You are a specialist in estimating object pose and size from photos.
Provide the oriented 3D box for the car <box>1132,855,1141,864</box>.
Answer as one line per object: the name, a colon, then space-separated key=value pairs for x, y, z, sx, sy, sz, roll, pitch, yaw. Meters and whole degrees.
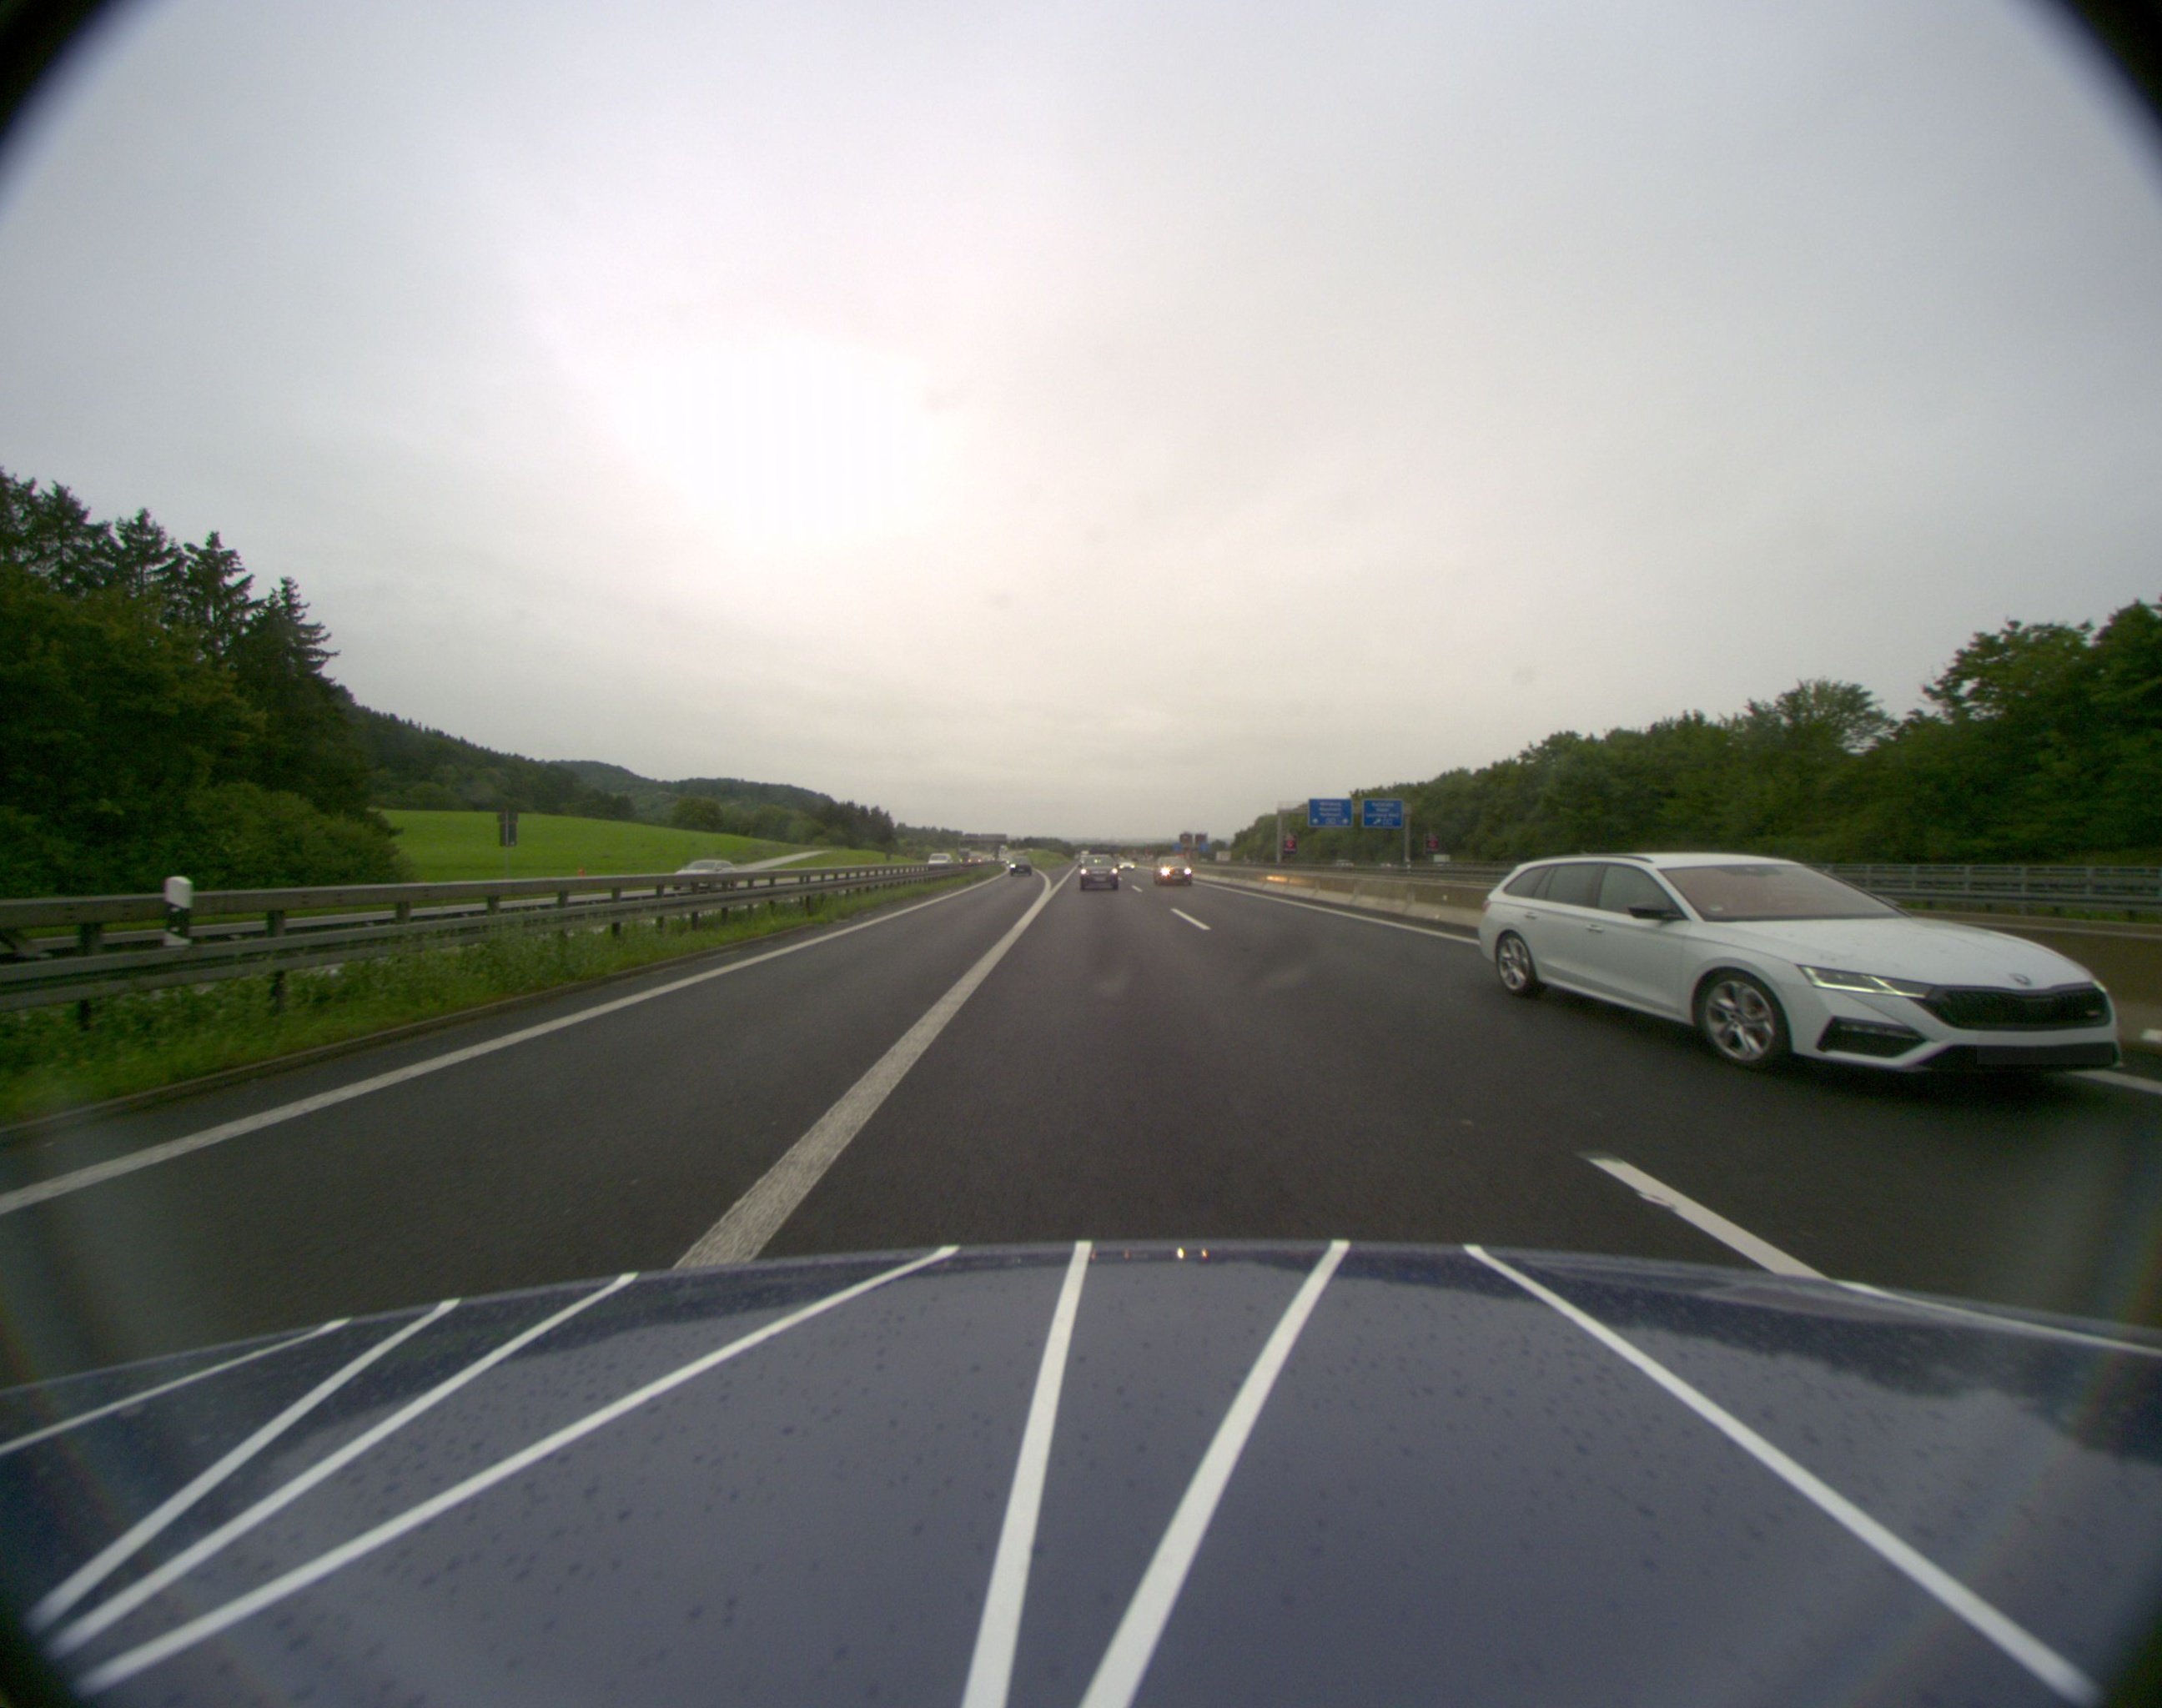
car: x=14.485 y=1.432 z=197.797 sx=1.998 sy=2.002 sz=4.982 roll=-1 pitch=1 yaw=0

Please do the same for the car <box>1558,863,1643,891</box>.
car: x=30.558 y=1.312 z=44.878 sx=1.823 sy=1.448 sz=4.567 roll=-1 pitch=1 yaw=-2

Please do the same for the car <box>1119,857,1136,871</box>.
car: x=5.463 y=1.200 z=89.681 sx=1.726 sy=1.481 sz=4.566 roll=-1 pitch=1 yaw=0

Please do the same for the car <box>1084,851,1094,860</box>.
car: x=1.727 y=0.313 z=170.231 sx=2.016 sy=1.994 sz=4.566 roll=-1 pitch=1 yaw=-1

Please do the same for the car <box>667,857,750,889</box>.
car: x=-18.600 y=0.912 z=38.224 sx=1.904 sy=1.446 sz=4.709 roll=-1 pitch=1 yaw=-1

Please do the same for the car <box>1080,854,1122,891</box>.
car: x=0.904 y=0.838 z=36.304 sx=1.813 sy=1.571 sz=3.834 roll=-1 pitch=1 yaw=-1

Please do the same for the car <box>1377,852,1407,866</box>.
car: x=37.145 y=0.555 z=90.818 sx=1.823 sy=1.622 sz=4.058 roll=-1 pitch=1 yaw=-1

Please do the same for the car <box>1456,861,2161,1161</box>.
car: x=5.212 y=0.838 z=6.335 sx=1.823 sy=1.448 sz=4.777 roll=-1 pitch=1 yaw=0

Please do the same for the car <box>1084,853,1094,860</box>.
car: x=1.699 y=0.595 z=163.811 sx=1.919 sy=1.481 sz=4.566 roll=-1 pitch=1 yaw=-1

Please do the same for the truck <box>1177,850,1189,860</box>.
truck: x=34.818 y=0.436 z=260.563 sx=2.858 sy=3.202 sz=9.078 roll=-1 pitch=1 yaw=1

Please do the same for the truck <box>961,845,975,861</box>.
truck: x=-29.442 y=-0.245 z=198.862 sx=2.800 sy=3.878 sz=10.023 roll=-1 pitch=1 yaw=-4

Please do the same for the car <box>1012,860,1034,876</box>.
car: x=-5.251 y=1.238 z=69.145 sx=1.867 sy=1.349 sz=4.565 roll=-1 pitch=1 yaw=-3

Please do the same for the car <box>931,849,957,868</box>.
car: x=-13.035 y=0.405 z=72.537 sx=1.914 sy=1.684 sz=4.716 roll=-1 pitch=1 yaw=-4

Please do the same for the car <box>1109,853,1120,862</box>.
car: x=6.077 y=0.637 z=139.278 sx=1.726 sy=1.481 sz=4.566 roll=-1 pitch=1 yaw=-1

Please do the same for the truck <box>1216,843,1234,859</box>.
truck: x=37.878 y=-0.843 z=200.133 sx=3.082 sy=3.856 sz=9.634 roll=-1 pitch=1 yaw=1

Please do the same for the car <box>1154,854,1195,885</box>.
car: x=4.980 y=0.780 z=40.997 sx=1.725 sy=1.481 sz=4.567 roll=-1 pitch=1 yaw=1

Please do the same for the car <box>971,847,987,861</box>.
car: x=-16.157 y=-0.010 z=120.580 sx=2.130 sy=2.002 sz=5.075 roll=-1 pitch=1 yaw=-2

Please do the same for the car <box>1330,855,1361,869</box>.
car: x=29.454 y=0.907 z=84.703 sx=1.823 sy=1.448 sz=4.268 roll=-1 pitch=1 yaw=-1

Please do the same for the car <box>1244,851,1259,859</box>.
car: x=33.587 y=0.119 z=149.987 sx=1.823 sy=1.484 sz=4.474 roll=-1 pitch=1 yaw=-1
